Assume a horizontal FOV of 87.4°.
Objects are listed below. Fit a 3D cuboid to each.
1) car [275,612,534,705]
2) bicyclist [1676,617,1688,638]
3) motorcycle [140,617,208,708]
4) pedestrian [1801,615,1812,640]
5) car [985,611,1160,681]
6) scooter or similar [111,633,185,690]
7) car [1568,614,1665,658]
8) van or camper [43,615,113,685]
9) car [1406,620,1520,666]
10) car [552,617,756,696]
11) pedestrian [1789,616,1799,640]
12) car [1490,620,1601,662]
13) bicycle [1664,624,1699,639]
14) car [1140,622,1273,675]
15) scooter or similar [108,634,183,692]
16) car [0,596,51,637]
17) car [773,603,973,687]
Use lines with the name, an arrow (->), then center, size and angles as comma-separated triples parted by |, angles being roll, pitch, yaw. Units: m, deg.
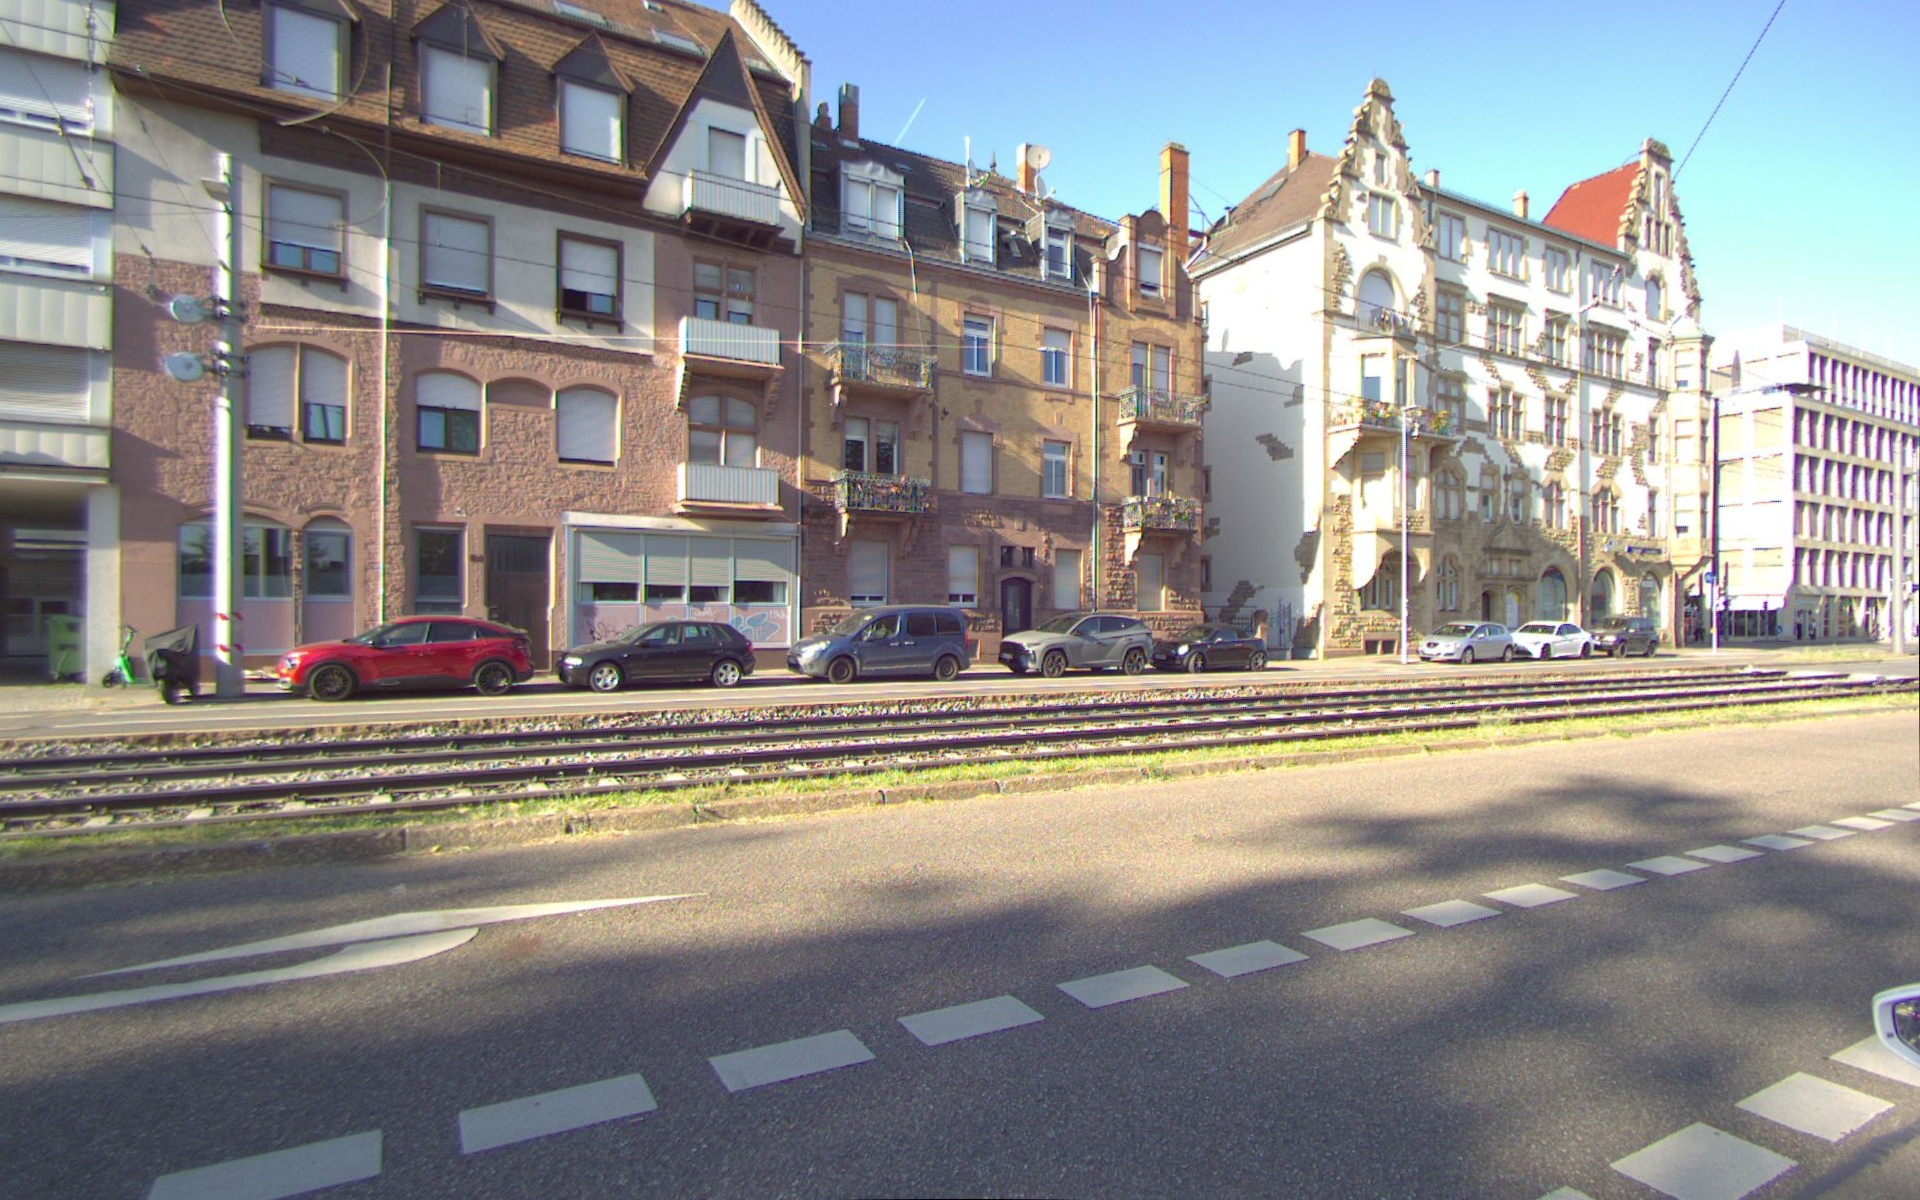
car -> -10.557, 1.047, 19.300 | 4.162, 1.519, 1.846 | 1, 2, -31
bicyclist -> 61.261, 2.338, 85.240 | 0.570, 1.708, 0.638 | 1, -1, -30
motorcycle -> -13.730, 1.049, 17.581 | 0.621, 1.441, 1.847 | 0, 2, -29
pedestrian -> 65.243, 2.130, 77.414 | 0.522, 1.868, 0.443 | 0, -1, 23
car -> 3.055, 1.179, 26.983 | 4.451, 1.645, 1.846 | 1, 2, -31
scooter or similar -> -15.972, 1.201, 19.772 | 1.108, 1.083, 0.203 | 0, 1, -30
car -> 27.149, 1.448, 41.500 | 4.169, 1.698, 1.708 | 1, 1, -32
van or camper -> -18.096, 1.005, 20.636 | 0.794, 1.375, 1.418 | 0, -1, -29
car -> 17.937, 1.484, 35.776 | 4.177, 1.450, 1.699 | 1, 1, -32
car -> -6.481, 1.136, 21.366 | 3.882, 1.457, 1.686 | 1, 2, -31
pedestrian -> 64.688, 2.173, 77.876 | 0.464, 1.868, 0.443 | 0, -1, 23
car -> 22.648, 1.535, 38.822 | 4.603, 1.442, 1.708 | 1, 1, -32
bicycle -> 61.246, 2.676, 85.278 | 0.570, 1.231, 2.370 | 1, -1, -29
car -> 7.231, 1.380, 29.368 | 3.683, 1.373, 1.614 | 1, 2, -31
scooter or similar -> -15.841, 1.215, 19.549 | 1.108, 1.083, 0.203 | 0, 1, -30
car -> -55.386, 0.921, 56.073 | 6.524, 2.288, 2.343 | 1, -1, -31
car -> -2.057, 1.027, 23.980 | 4.361, 1.782, 1.878 | 1, 2, -28
